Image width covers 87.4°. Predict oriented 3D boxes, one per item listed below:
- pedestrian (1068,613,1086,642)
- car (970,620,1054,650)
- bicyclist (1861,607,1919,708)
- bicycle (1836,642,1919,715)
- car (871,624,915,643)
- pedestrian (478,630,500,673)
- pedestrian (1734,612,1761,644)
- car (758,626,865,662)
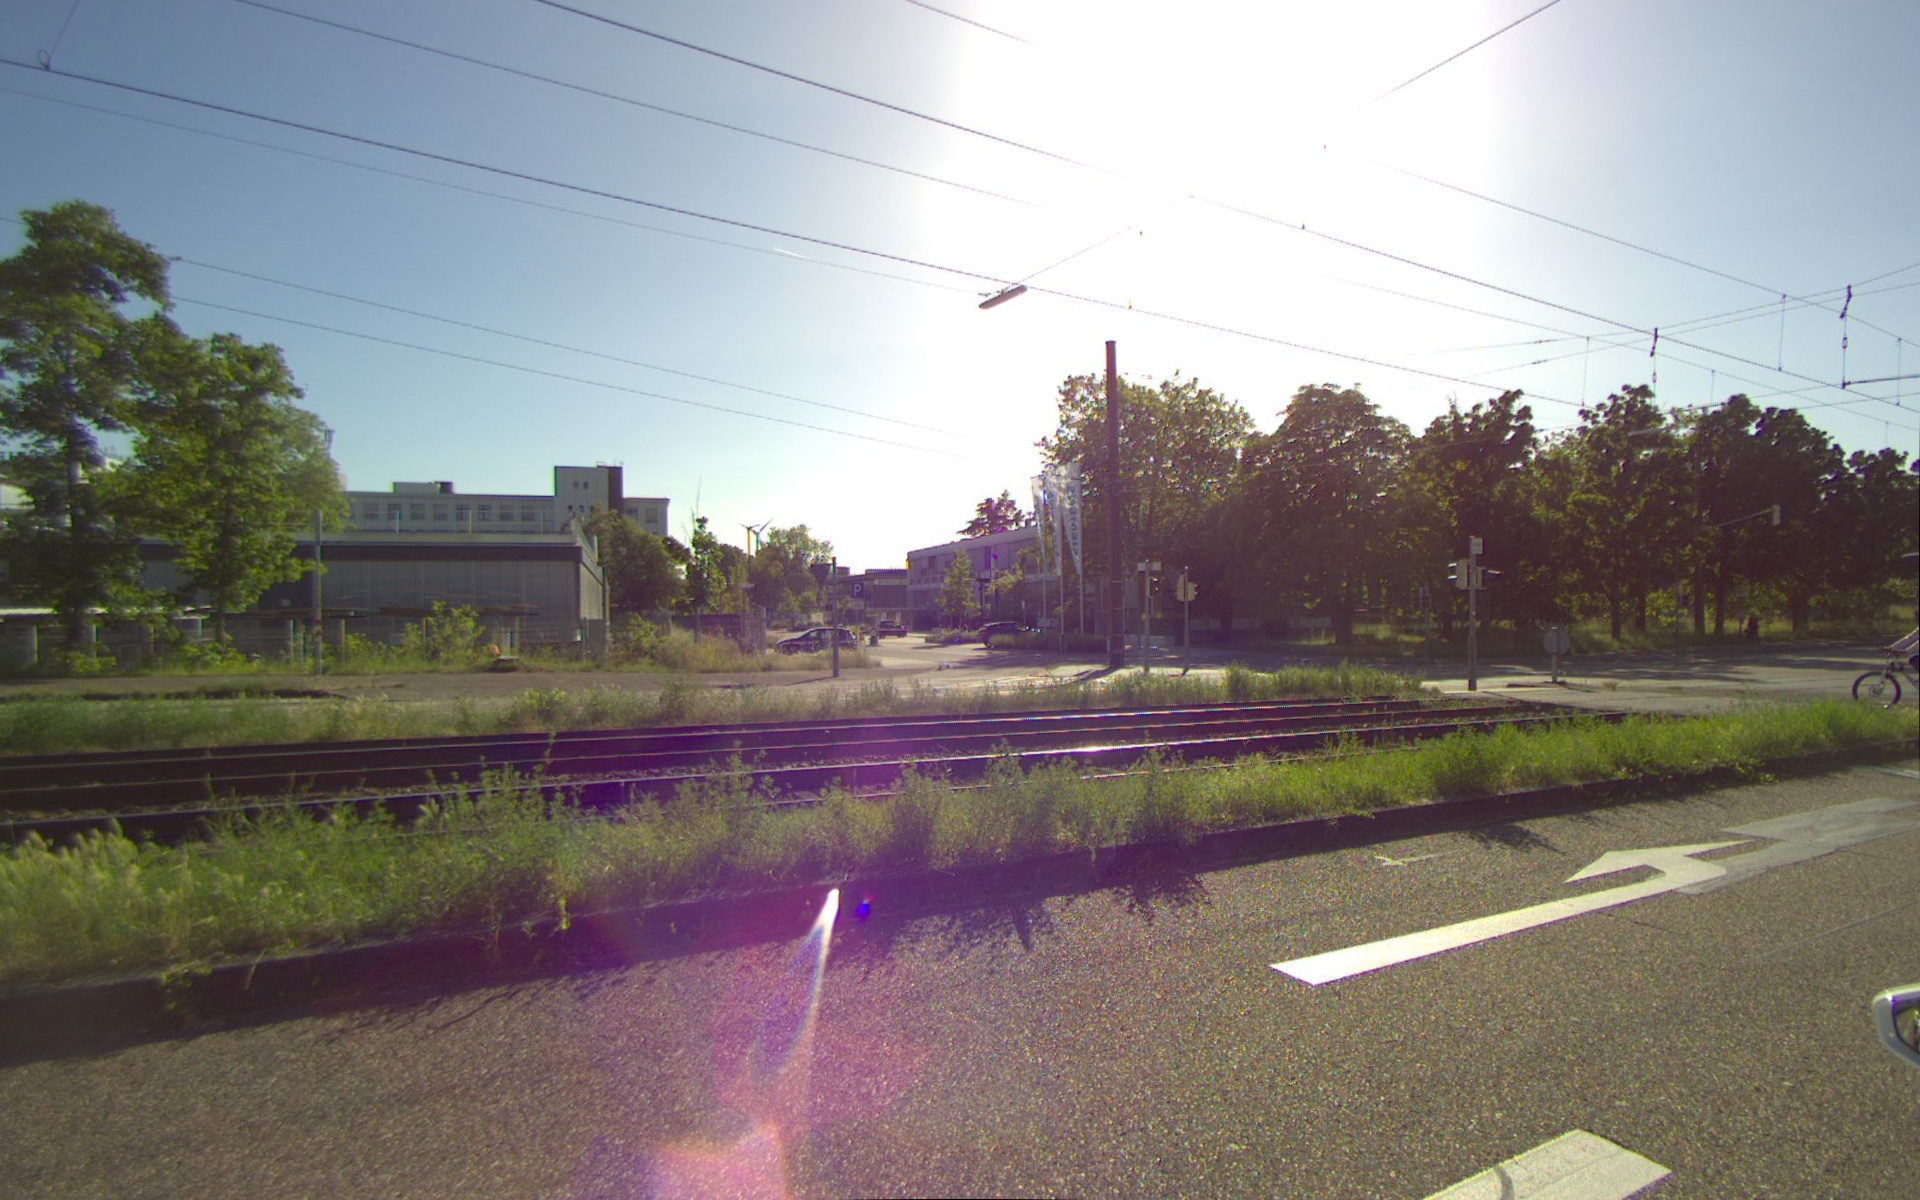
[{"bbox_3d":[7.363,1.745,63.378,0.807,1.811,0.950,0,0,-16],"label":"pedestrian"},{"bbox_3d":[3.193,2.135,61.714,4.768,1.751,2.041,1,0,-21],"label":"car"},{"bbox_3d":[15.687,0.939,16.428,0.796,1.614,1.226,1,0,-31],"label":"bicyclist"},{"bbox_3d":[15.607,1.290,16.459,0.691,1.117,1.766,1,0,-30],"label":"bicycle"},{"bbox_3d":[-5.993,3.007,89.649,3.566,1.611,1.792,1,0,-23],"label":"car"},{"bbox_3d":[-14.736,1.606,31.439,0.432,1.318,0.441,0,0,18],"label":"pedestrian"},{"bbox_3d":[43.694,1.527,55.729,0.919,1.757,0.761,0,0,-2],"label":"pedestrian"},{"bbox_3d":[-7.686,2.256,51.919,5.210,1.772,2.164,1,0,-19],"label":"car"}]
